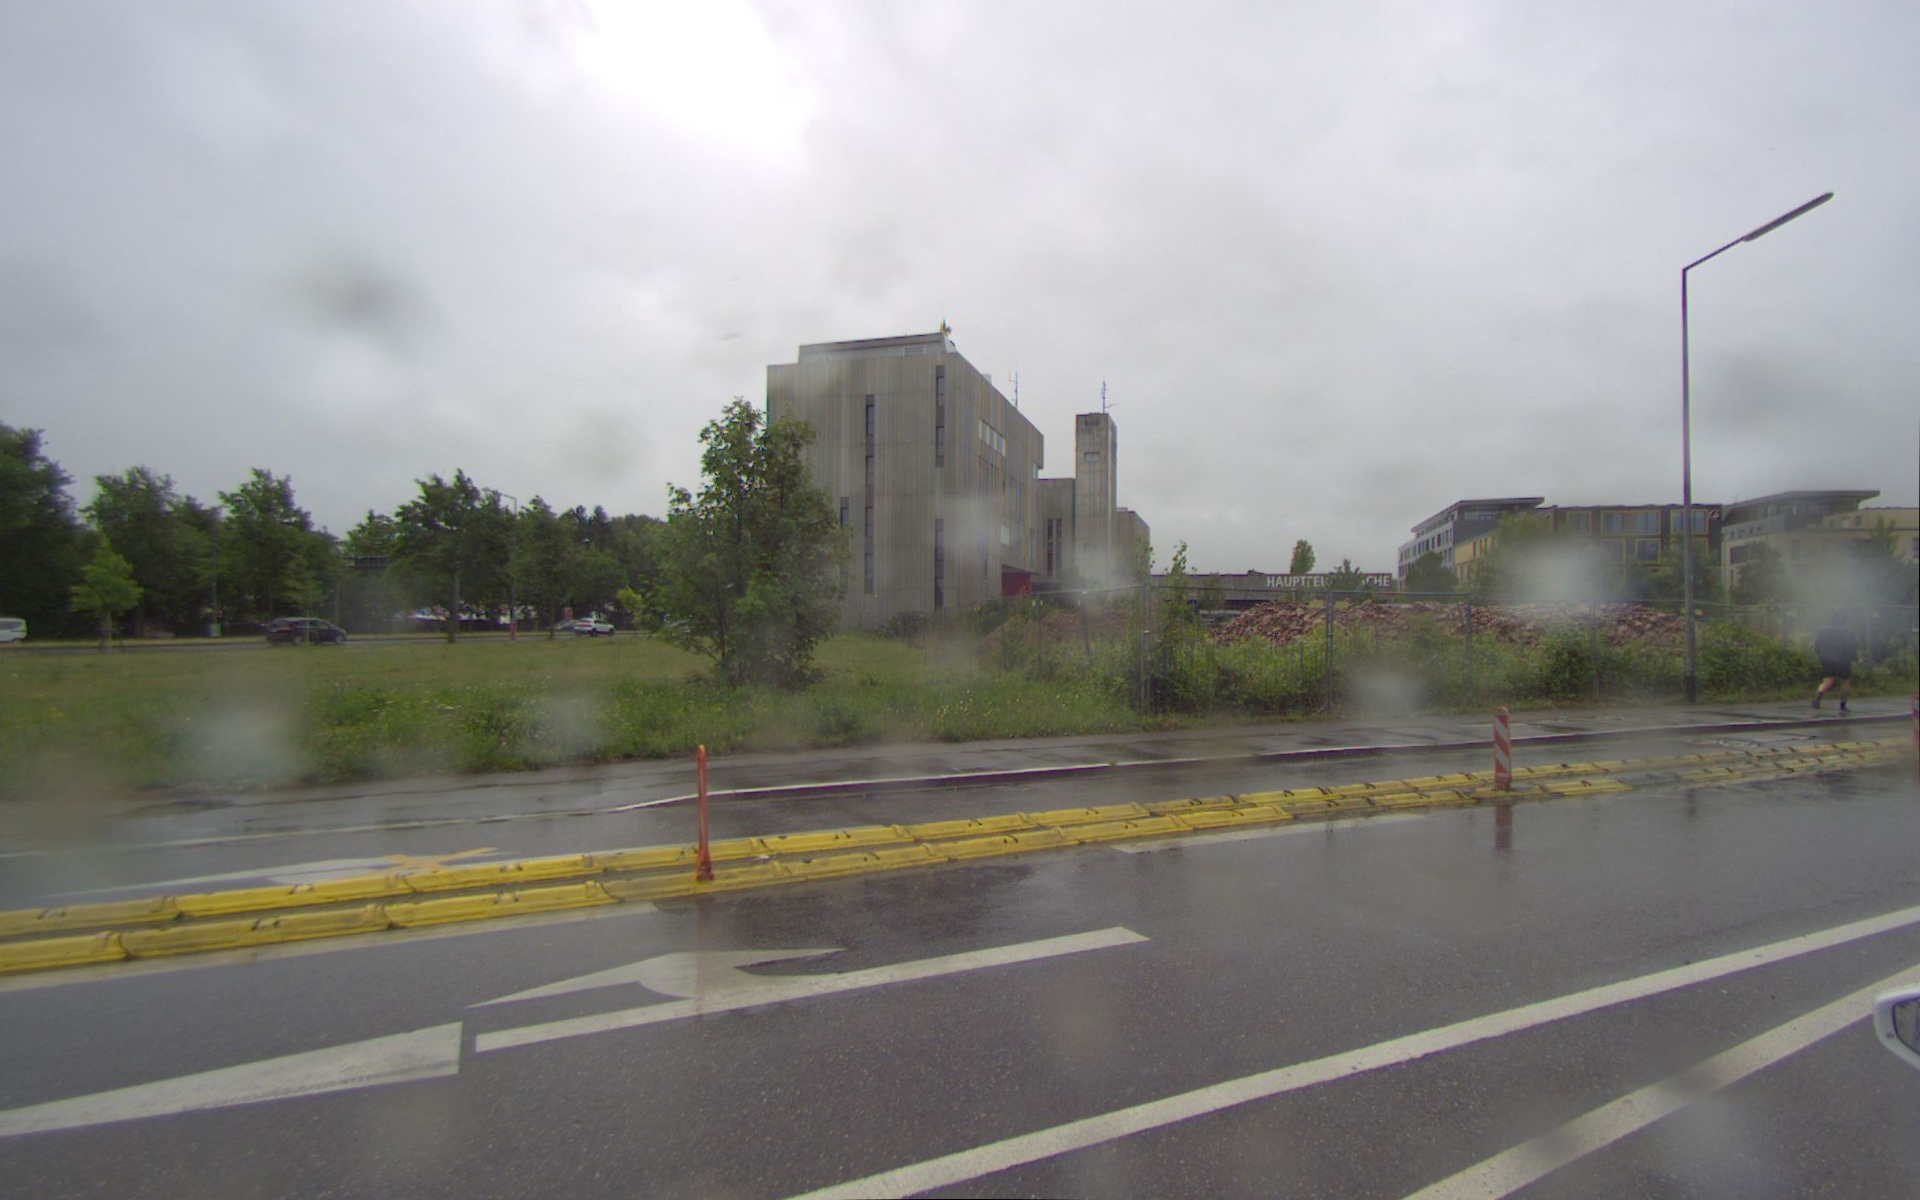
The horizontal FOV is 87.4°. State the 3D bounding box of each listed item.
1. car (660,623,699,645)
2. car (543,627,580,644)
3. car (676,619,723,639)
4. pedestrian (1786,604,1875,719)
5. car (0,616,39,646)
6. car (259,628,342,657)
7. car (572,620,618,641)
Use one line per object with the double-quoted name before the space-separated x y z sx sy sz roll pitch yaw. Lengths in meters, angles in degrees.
"car" -28.520 3.498 102.207 1.753 2.062 4.002 2 -2 18
"car" -40.384 3.625 101.973 1.753 1.703 4.003 2 -2 6
"car" -24.868 2.775 96.175 1.755 1.834 4.835 0 -1 24
"pedestrian" 15.995 1.123 18.461 1.116 2.040 0.844 3 -2 -24
"car" -55.646 1.732 57.222 1.753 1.669 4.345 2 -2 16
"car" -40.414 2.622 61.667 1.753 1.669 4.002 2 -2 17
"car" -32.566 2.742 89.669 1.653 1.669 3.948 2 -2 21
